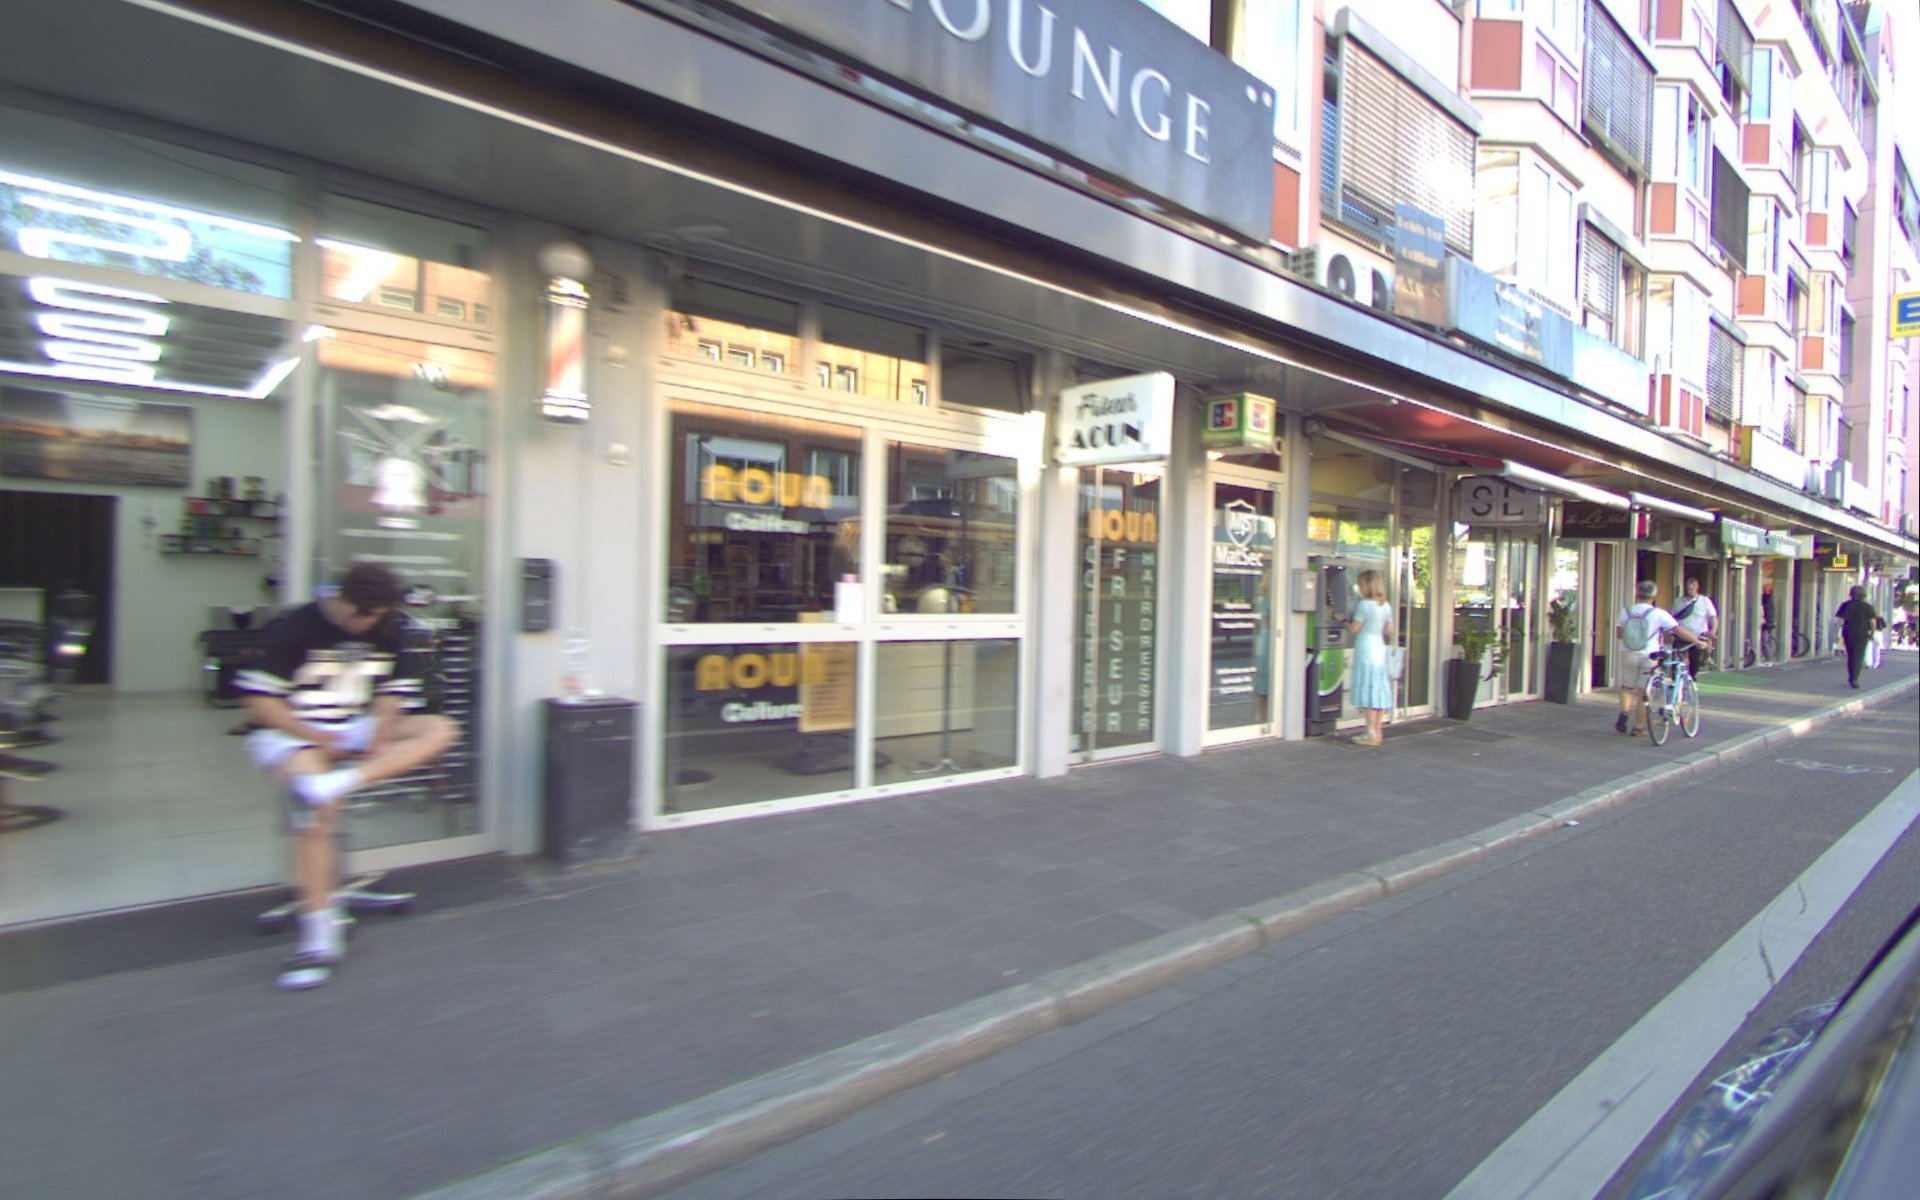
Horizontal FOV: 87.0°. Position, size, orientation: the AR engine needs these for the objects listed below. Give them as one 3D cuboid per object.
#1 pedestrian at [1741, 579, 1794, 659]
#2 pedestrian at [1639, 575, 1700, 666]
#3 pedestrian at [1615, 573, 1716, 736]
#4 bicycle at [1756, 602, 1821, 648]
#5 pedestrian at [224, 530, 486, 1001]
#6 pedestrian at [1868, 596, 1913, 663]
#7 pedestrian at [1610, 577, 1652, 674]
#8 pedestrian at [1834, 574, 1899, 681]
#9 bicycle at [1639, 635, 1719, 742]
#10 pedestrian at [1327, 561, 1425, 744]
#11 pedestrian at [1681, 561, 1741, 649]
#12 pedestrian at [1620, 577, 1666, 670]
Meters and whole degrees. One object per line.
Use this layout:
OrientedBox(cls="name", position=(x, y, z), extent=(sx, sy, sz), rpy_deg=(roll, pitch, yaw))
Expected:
OrientedBox(cls="pedestrian", position=(18.129, 0.419, 22.743), extent=(0.783, 1.742, 0.585), rpy_deg=(3, 1, 31))
OrientedBox(cls="pedestrian", position=(13.607, 0.378, 19.419), extent=(0.684, 1.695, 0.774), rpy_deg=(1, 2, -41))
OrientedBox(cls="pedestrian", position=(7.541, 0.555, 10.825), extent=(0.693, 1.650, 0.664), rpy_deg=(1, 3, -42))
OrientedBox(cls="bicycle", position=(22.871, 0.669, 27.957), extent=(0.472, 1.215, 1.483), rpy_deg=(1, 1, -5))
OrientedBox(cls="pedestrian", position=(-2.234, 0.512, 3.717), extent=(0.694, 1.490, 0.740), rpy_deg=(1, 3, -40))
OrientedBox(cls="pedestrian", position=(22.571, 0.699, 24.544), extent=(0.776, 1.539, 0.666), rpy_deg=(1, 3, -43))
OrientedBox(cls="pedestrian", position=(11.499, 0.430, 17.335), extent=(0.520, 1.624, 0.456), rpy_deg=(1, 0, -41))
OrientedBox(cls="pedestrian", position=(16.664, 0.483, 18.604), extent=(0.974, 1.884, 0.676), rpy_deg=(1, 2, -40))
OrientedBox(cls="bicycle", position=(7.596, 0.894, 10.665), extent=(1.730, 1.002, 0.303), rpy_deg=(1, 2, -42))
OrientedBox(cls="pedestrian", position=(3.826, 0.454, 9.315), extent=(0.544, 1.610, 0.601), rpy_deg=(1, 1, -41))
OrientedBox(cls="pedestrian", position=(14.732, 0.093, 19.853), extent=(0.627, 1.656, 0.728), rpy_deg=(1, 2, -40))
OrientedBox(cls="pedestrian", position=(12.354, 0.418, 18.316), extent=(0.512, 1.653, 0.518), rpy_deg=(1, 0, -36))
